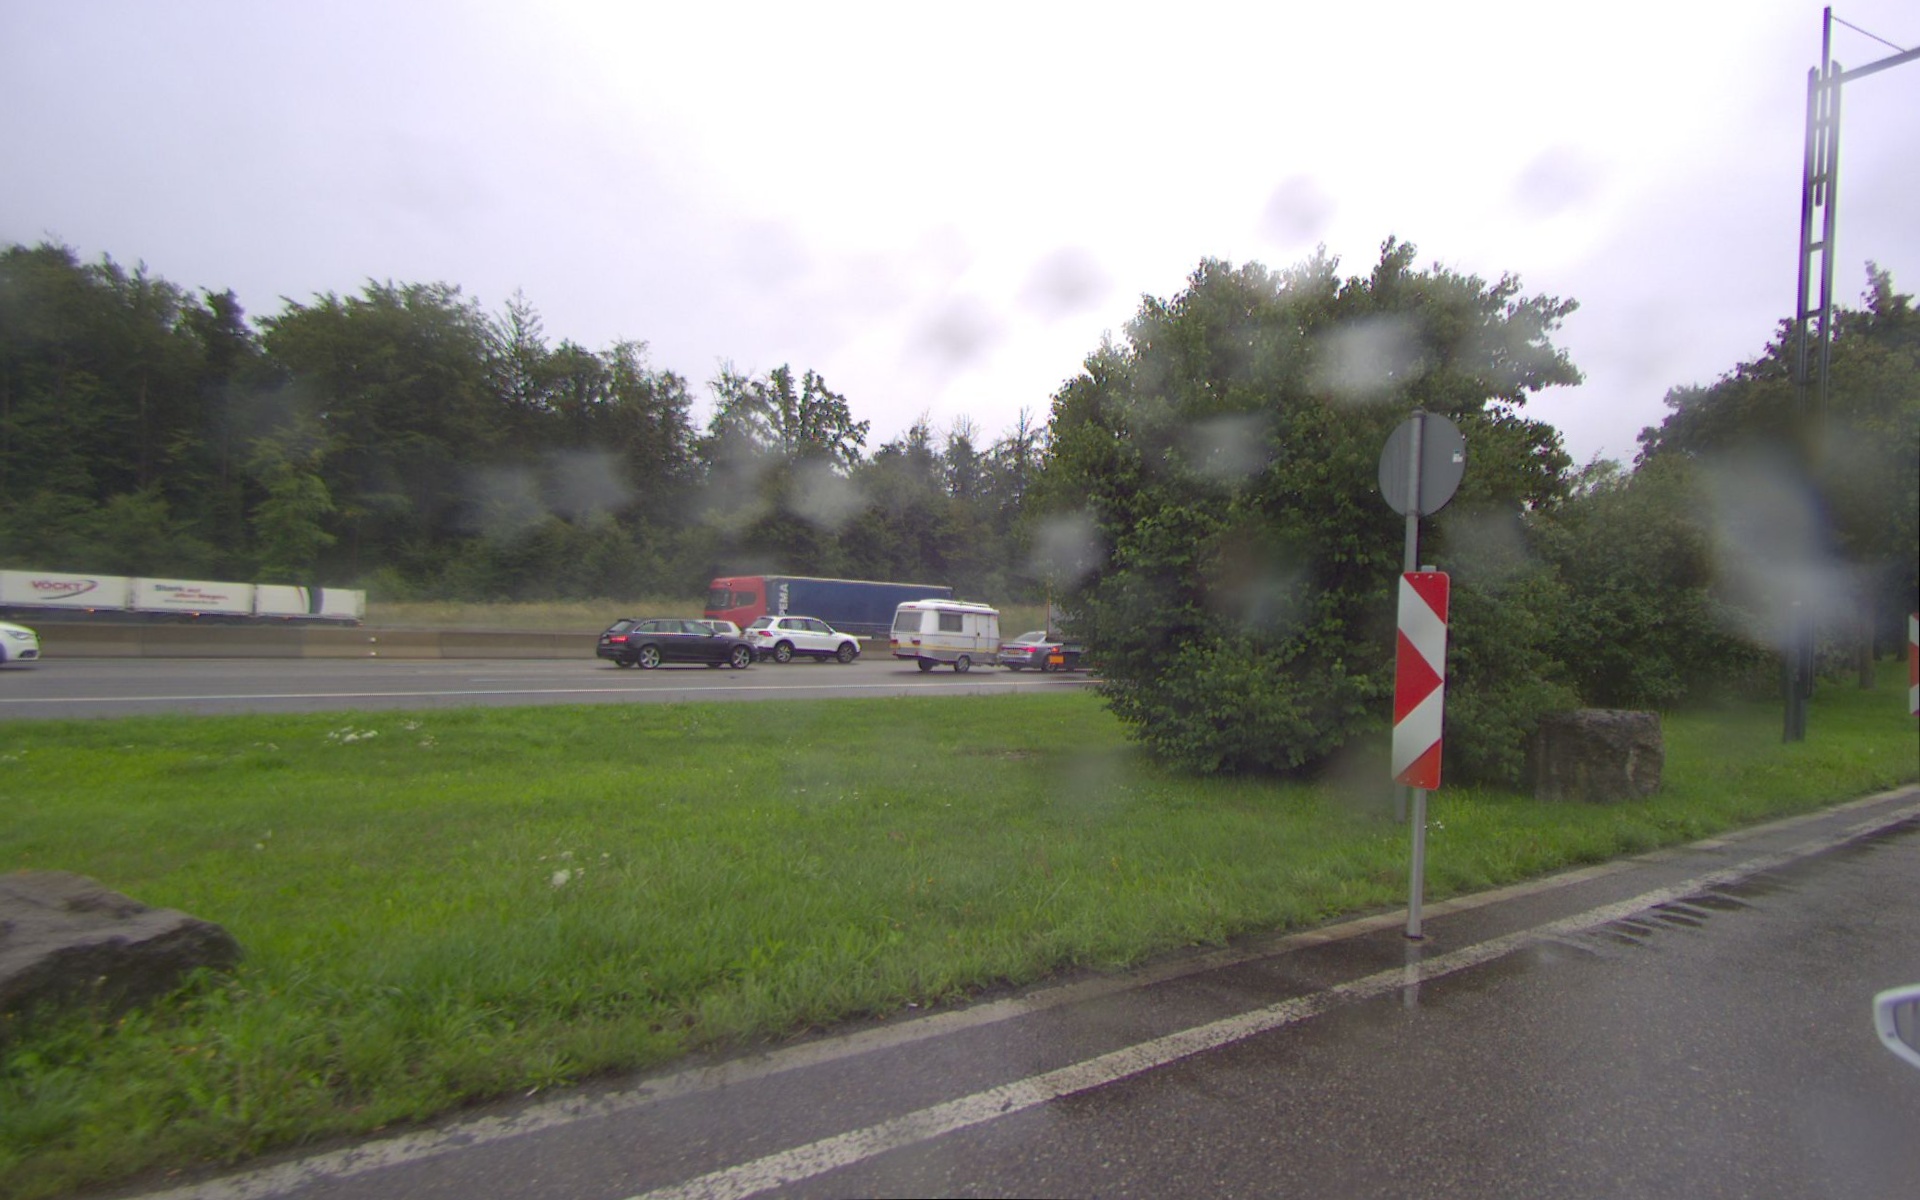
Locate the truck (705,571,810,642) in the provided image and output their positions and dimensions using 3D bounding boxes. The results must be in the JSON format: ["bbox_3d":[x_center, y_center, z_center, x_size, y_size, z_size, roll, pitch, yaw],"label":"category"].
[{"bbox_3d":[-11.128,0.381,55.404,5.130,3.556,2.170,4,1,-42],"label":"truck"}]

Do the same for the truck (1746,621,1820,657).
[{"bbox_3d":[80.444,3.753,98.247,1.983,3.043,5.200,0,4,-39],"label":"truck"}]

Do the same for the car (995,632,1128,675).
[{"bbox_3d":[3.486,1.818,33.955,4.546,1.366,1.830,3,-3,-41],"label":"car"}]

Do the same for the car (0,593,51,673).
[{"bbox_3d":[-19.942,0.525,18.587,4.466,1.500,1.864,4,-3,-40],"label":"car"}]

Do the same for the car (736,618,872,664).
[{"bbox_3d":[-5.601,1.490,36.334,4.491,1.560,1.977,3,-2,-39],"label":"car"}]

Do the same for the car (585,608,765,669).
[{"bbox_3d":[-8.055,1.111,28.615,4.491,1.560,1.977,4,-3,-39],"label":"car"}]

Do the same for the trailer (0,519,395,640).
[{"bbox_3d":[-27.986,-0.632,34.660,14.557,3.730,2.592,2,3,-41],"label":"trailer"}]

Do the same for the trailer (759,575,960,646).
[{"bbox_3d":[-5.669,0.753,60.292,13.037,3.543,2.170,4,1,-42],"label":"trailer"}]

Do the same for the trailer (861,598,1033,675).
[{"bbox_3d":[-0.315,1.183,31.011,5.139,2.184,2.111,3,-3,-41],"label":"trailer"}]

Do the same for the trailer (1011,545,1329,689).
[{"bbox_3d":[7.695,0.857,33.943,14.017,4.034,2.868,4,-3,-42],"label":"trailer"}]
